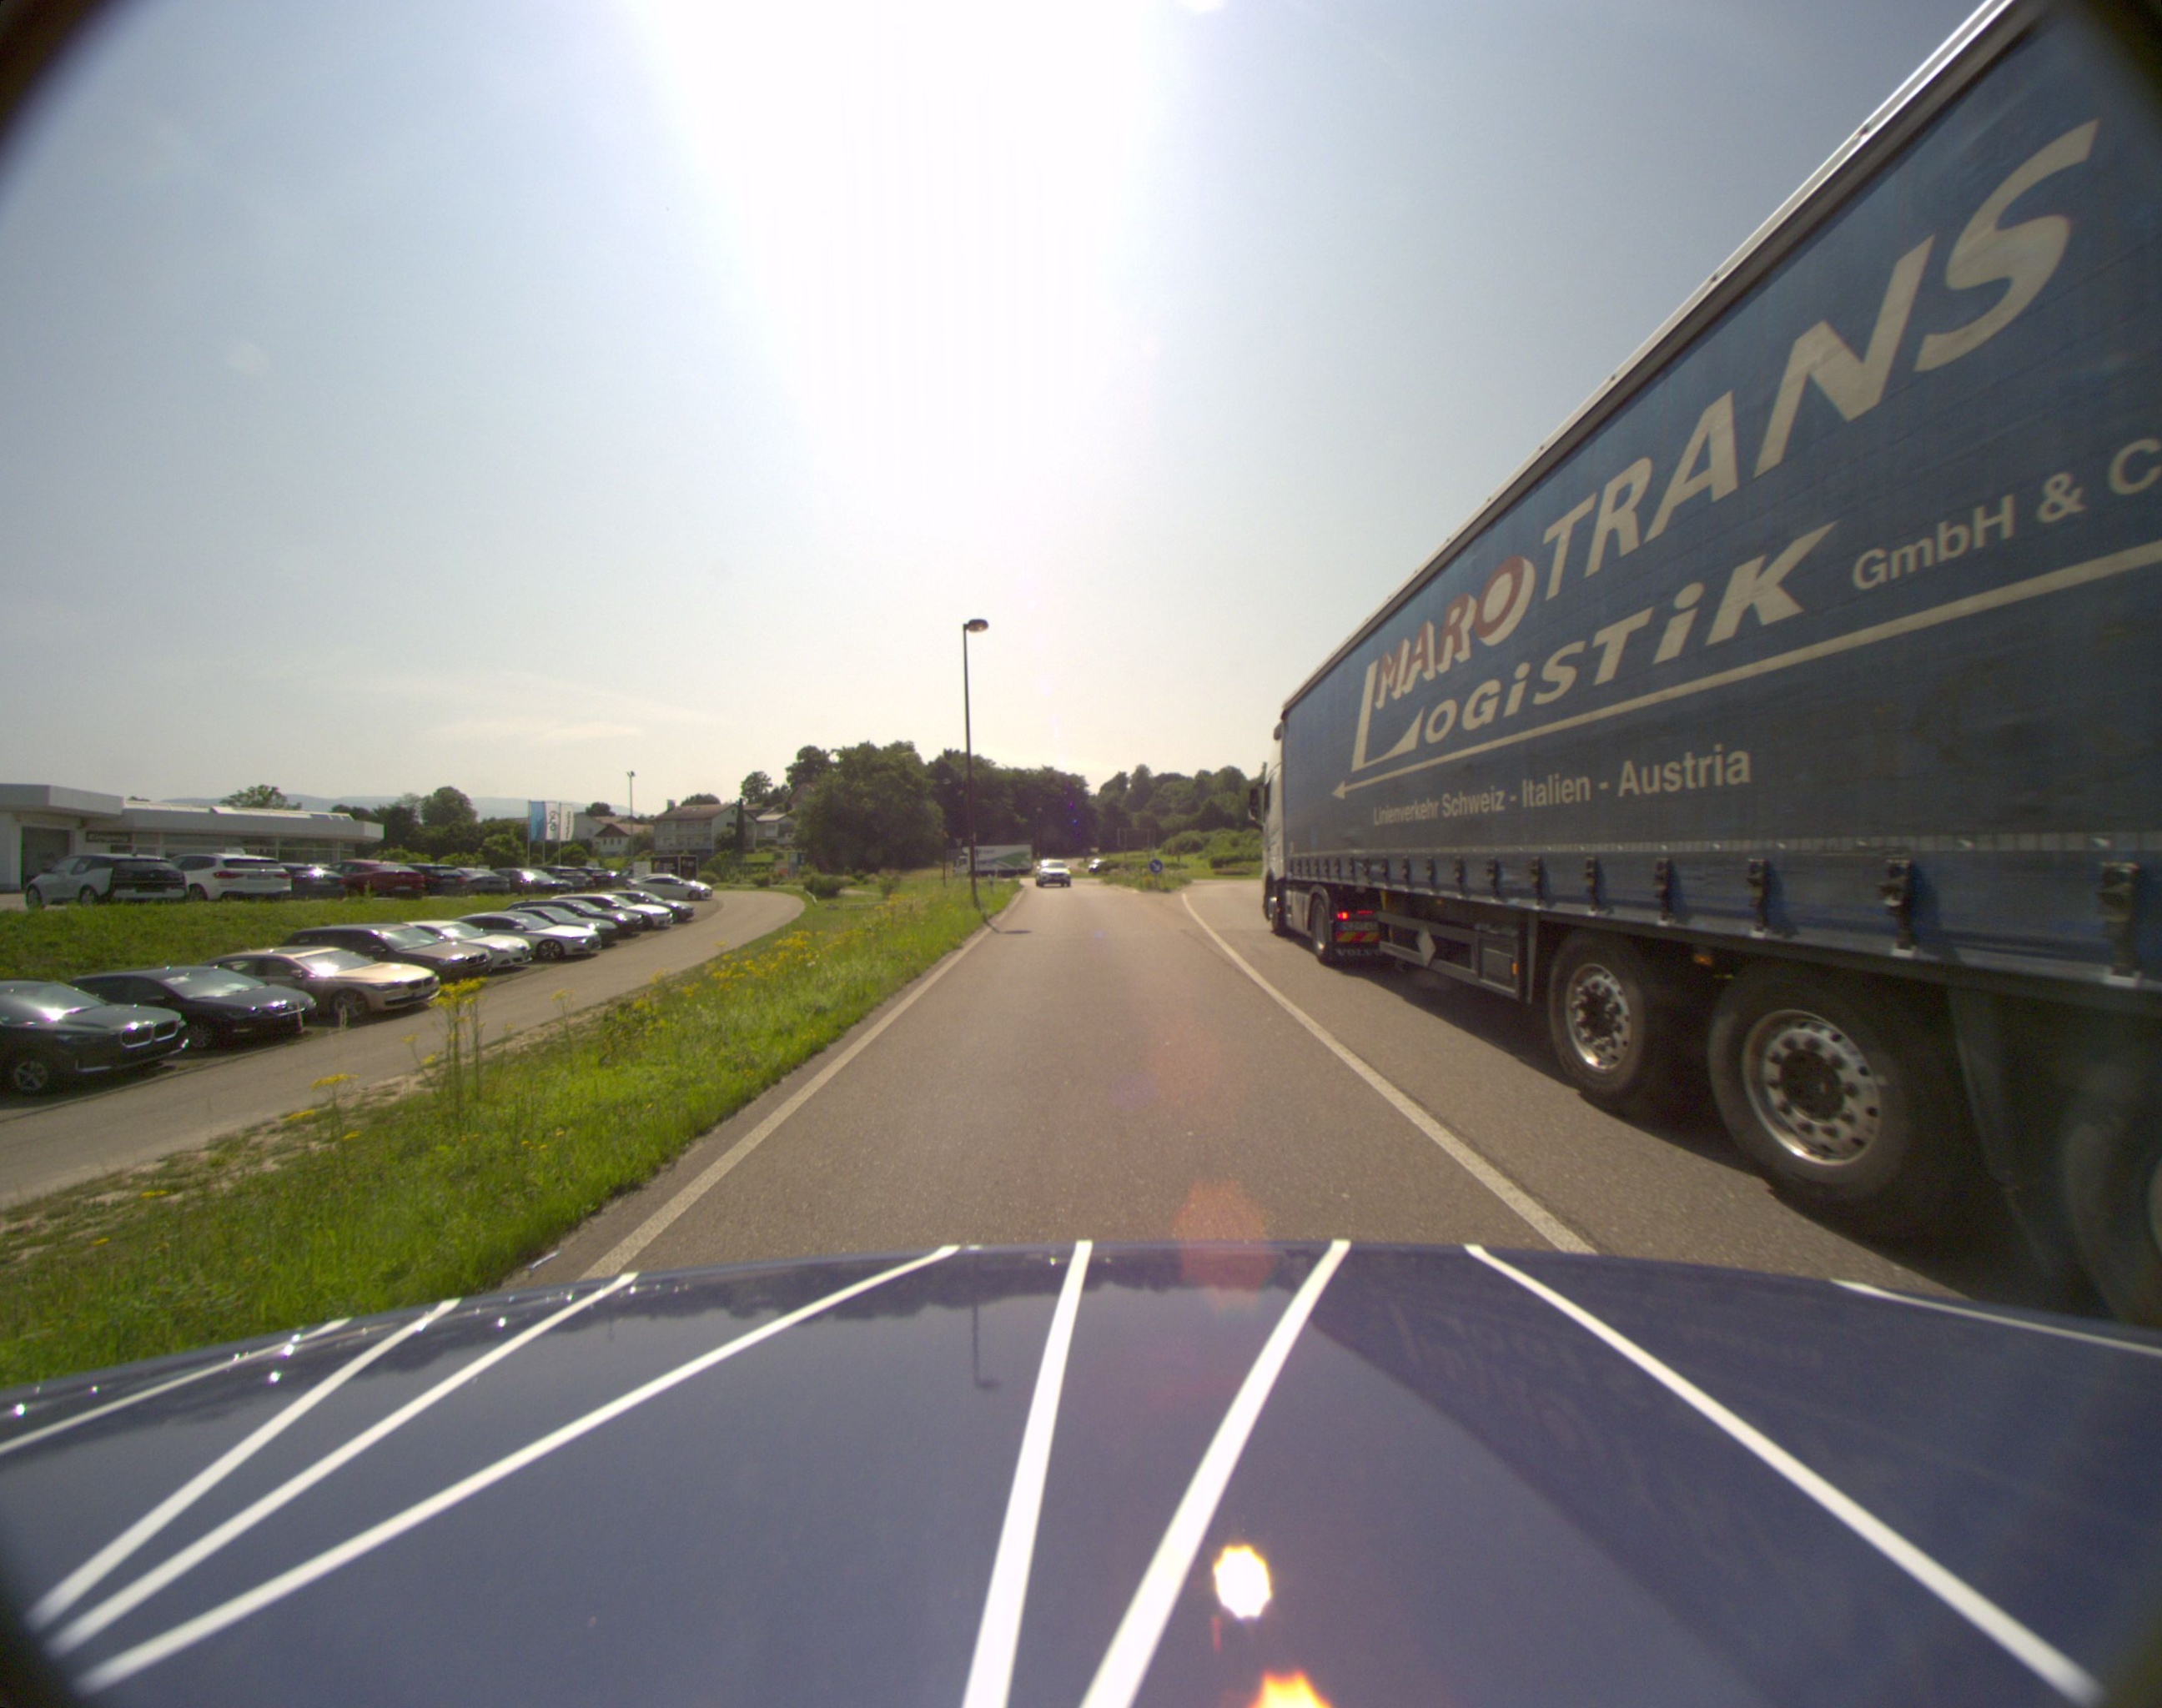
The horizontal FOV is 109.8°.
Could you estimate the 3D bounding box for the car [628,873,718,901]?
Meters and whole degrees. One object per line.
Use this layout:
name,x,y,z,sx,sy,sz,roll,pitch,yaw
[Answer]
car,-24.815,1.970,46.394,4.582,1.561,1.765,0,1,-20

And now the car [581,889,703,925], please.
car,-20.029,2.406,34.915,4.577,1.413,1.780,0,2,-19

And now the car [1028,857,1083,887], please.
car,-1.644,1.085,46.736,2.199,1.642,5.115,-3,0,-15

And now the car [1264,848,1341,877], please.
car,16.212,0.629,55.688,5.219,1.927,1.863,-2,1,20

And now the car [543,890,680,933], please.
car,-19.886,2.415,32.401,4.575,1.557,1.920,0,2,-14

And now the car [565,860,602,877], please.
car,-43.635,1.266,66.606,1.914,1.503,4.363,0,-1,-44

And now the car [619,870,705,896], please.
car,-26.696,1.869,48.624,4.672,1.561,1.765,2,-1,-26

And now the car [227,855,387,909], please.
car,-26.701,0.951,26.261,4.460,1.737,1.841,-1,0,14

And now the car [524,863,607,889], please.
car,-31.355,1.351,46.256,4.001,1.491,1.952,1,-1,14

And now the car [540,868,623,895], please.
car,-32.039,1.765,48.763,4.418,1.491,1.951,1,1,14

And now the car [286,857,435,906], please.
car,-27.080,1.018,28.604,4.460,1.737,1.952,-1,0,14

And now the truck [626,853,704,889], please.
truck,-31.513,1.309,57.530,5.614,2.649,1.953,-1,0,20

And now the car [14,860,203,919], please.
car,-26.771,0.944,20.955,3.880,1.523,1.770,-1,0,14

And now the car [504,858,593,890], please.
car,-30.033,1.091,42.869,4.001,1.740,1.952,0,0,14

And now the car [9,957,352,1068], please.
car,-17.619,3.064,15.126,4.000,1.543,1.998,-1,2,-9

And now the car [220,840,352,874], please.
car,-38.913,0.145,37.353,4.277,1.576,1.653,0,-1,-37

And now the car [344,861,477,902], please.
car,-28.031,1.140,31.805,4.460,1.625,1.952,-1,0,14

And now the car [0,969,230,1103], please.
car,-17.830,3.045,12.616,4.495,1.631,2.145,-2,2,-9

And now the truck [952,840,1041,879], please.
truck,-9.129,0.573,82.443,9.031,3.807,2.895,-3,1,-20

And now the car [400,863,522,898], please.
car,-27.901,1.195,34.230,4.460,1.491,1.952,-1,-1,14

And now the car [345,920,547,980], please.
car,-18.769,2.812,22.626,4.261,1.457,1.872,0,2,-5

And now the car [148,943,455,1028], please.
car,-17.844,2.995,17.636,4.781,1.500,1.998,0,2,-5

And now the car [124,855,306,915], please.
car,-26.597,0.930,23.374,4.460,1.737,1.841,-1,0,14

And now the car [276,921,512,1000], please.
car,-18.113,2.765,20.236,4.261,1.739,1.998,0,2,-5

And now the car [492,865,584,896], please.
car,-28.437,1.375,39.804,4.000,1.517,1.953,-1,-1,20

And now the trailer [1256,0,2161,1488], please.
trailer,4.123,-0.593,5.677,2.676,4.216,14.567,-3,0,2

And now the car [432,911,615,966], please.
car,-18.177,2.732,25.014,4.437,1.457,1.920,0,2,-13

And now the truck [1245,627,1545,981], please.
truck,4.452,-0.603,12.238,2.519,4.233,6.113,-1,1,3

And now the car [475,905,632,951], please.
car,-19.054,2.667,27.607,4.261,1.405,1.921,1,2,-5

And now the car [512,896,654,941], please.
car,-19.529,2.515,30.007,4.264,1.474,1.920,0,2,-14
